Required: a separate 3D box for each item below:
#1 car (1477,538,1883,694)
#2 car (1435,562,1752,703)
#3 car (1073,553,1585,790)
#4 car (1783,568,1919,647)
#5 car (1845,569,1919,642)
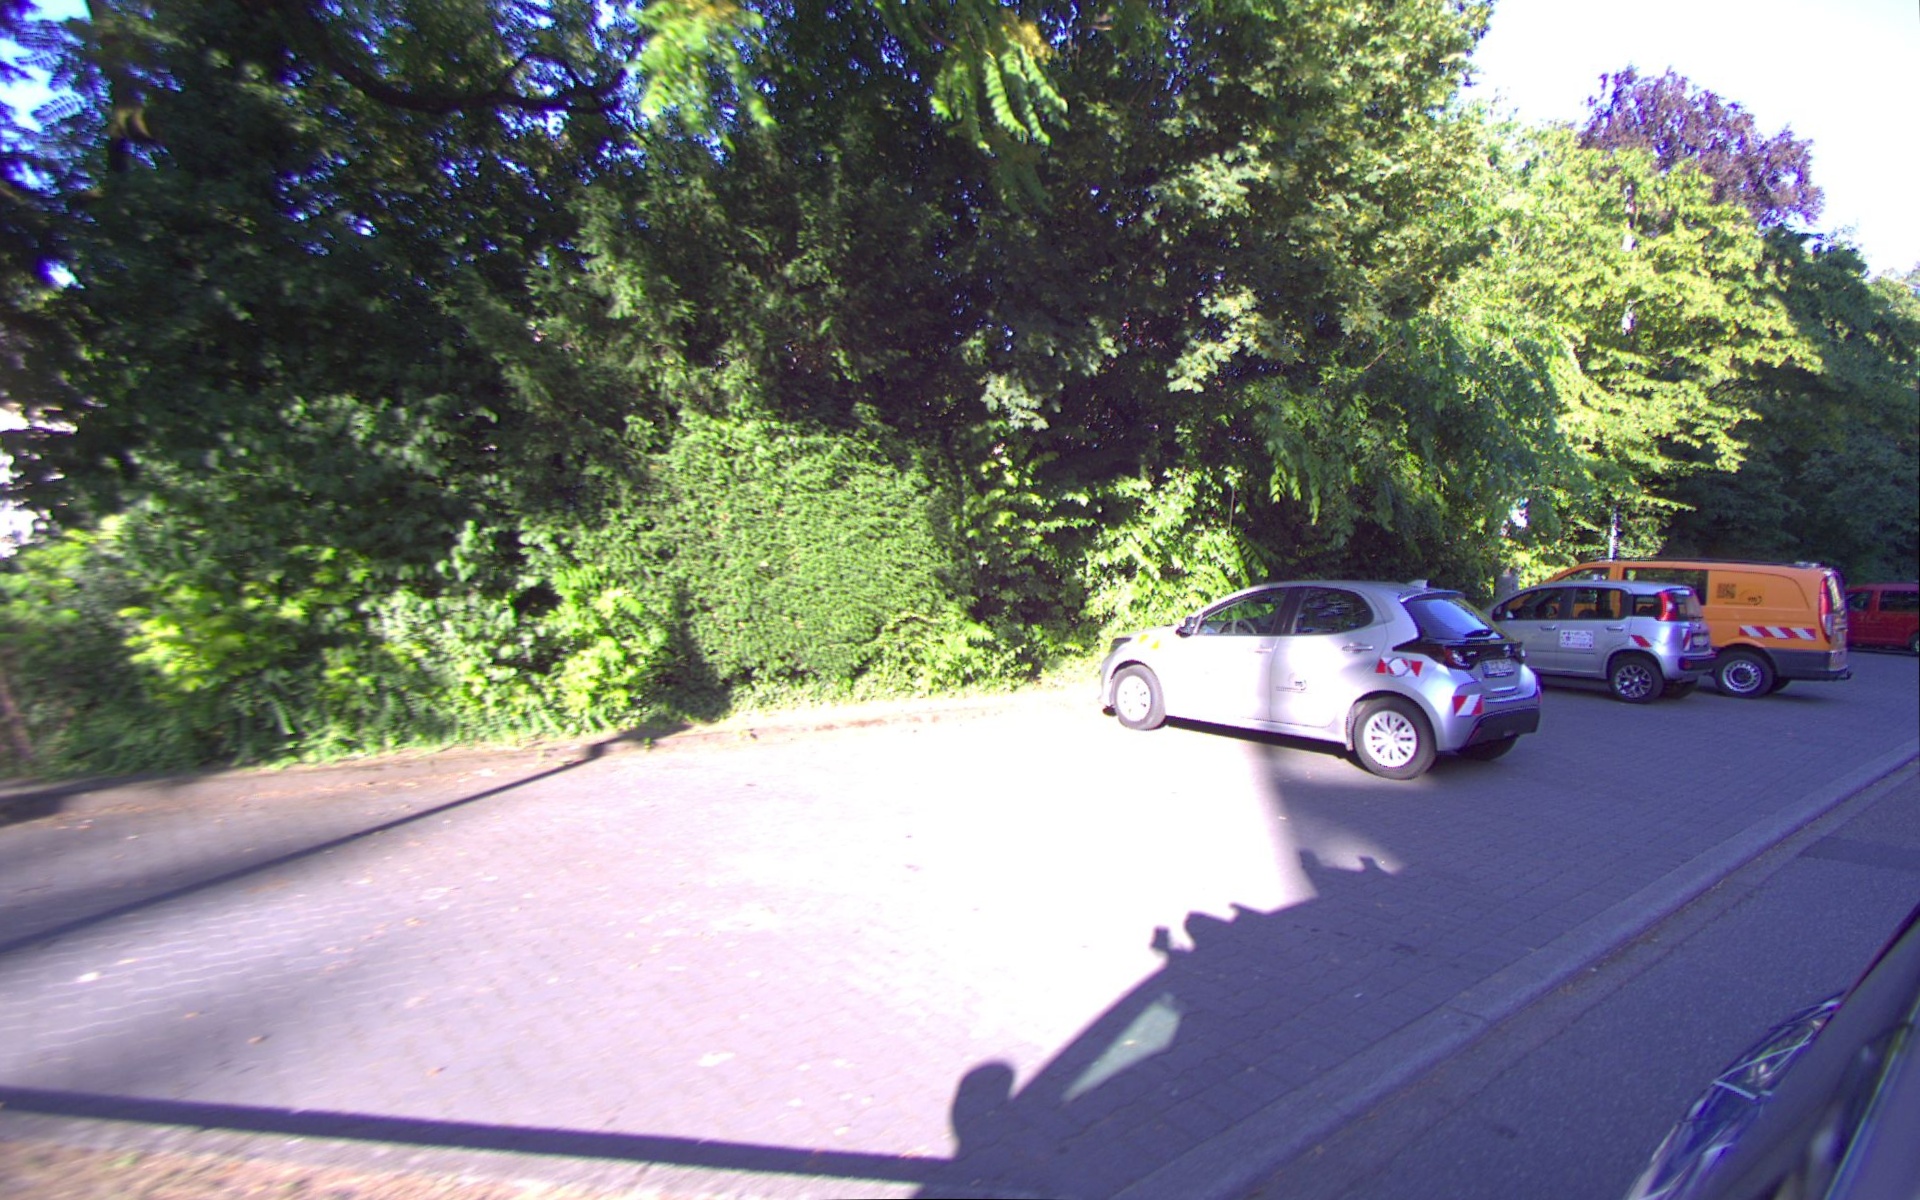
[{"bbox_3d":[11.098,0.093,15.927,2.045,2.022,4.805,0,3,-41],"label":"car"},{"bbox_3d":[8.875,0.350,14.398,1.648,1.651,3.407,0,3,-37],"label":"car"},{"bbox_3d":[3.072,0.421,9.134,1.704,1.565,3.998,0,3,-39],"label":"car"},{"bbox_3d":[24.096,0.182,26.126,1.882,1.886,3.988,0,3,-33],"label":"car"},{"bbox_3d":[26.407,0.177,27.175,1.749,1.906,3.616,0,3,-34],"label":"car"}]
